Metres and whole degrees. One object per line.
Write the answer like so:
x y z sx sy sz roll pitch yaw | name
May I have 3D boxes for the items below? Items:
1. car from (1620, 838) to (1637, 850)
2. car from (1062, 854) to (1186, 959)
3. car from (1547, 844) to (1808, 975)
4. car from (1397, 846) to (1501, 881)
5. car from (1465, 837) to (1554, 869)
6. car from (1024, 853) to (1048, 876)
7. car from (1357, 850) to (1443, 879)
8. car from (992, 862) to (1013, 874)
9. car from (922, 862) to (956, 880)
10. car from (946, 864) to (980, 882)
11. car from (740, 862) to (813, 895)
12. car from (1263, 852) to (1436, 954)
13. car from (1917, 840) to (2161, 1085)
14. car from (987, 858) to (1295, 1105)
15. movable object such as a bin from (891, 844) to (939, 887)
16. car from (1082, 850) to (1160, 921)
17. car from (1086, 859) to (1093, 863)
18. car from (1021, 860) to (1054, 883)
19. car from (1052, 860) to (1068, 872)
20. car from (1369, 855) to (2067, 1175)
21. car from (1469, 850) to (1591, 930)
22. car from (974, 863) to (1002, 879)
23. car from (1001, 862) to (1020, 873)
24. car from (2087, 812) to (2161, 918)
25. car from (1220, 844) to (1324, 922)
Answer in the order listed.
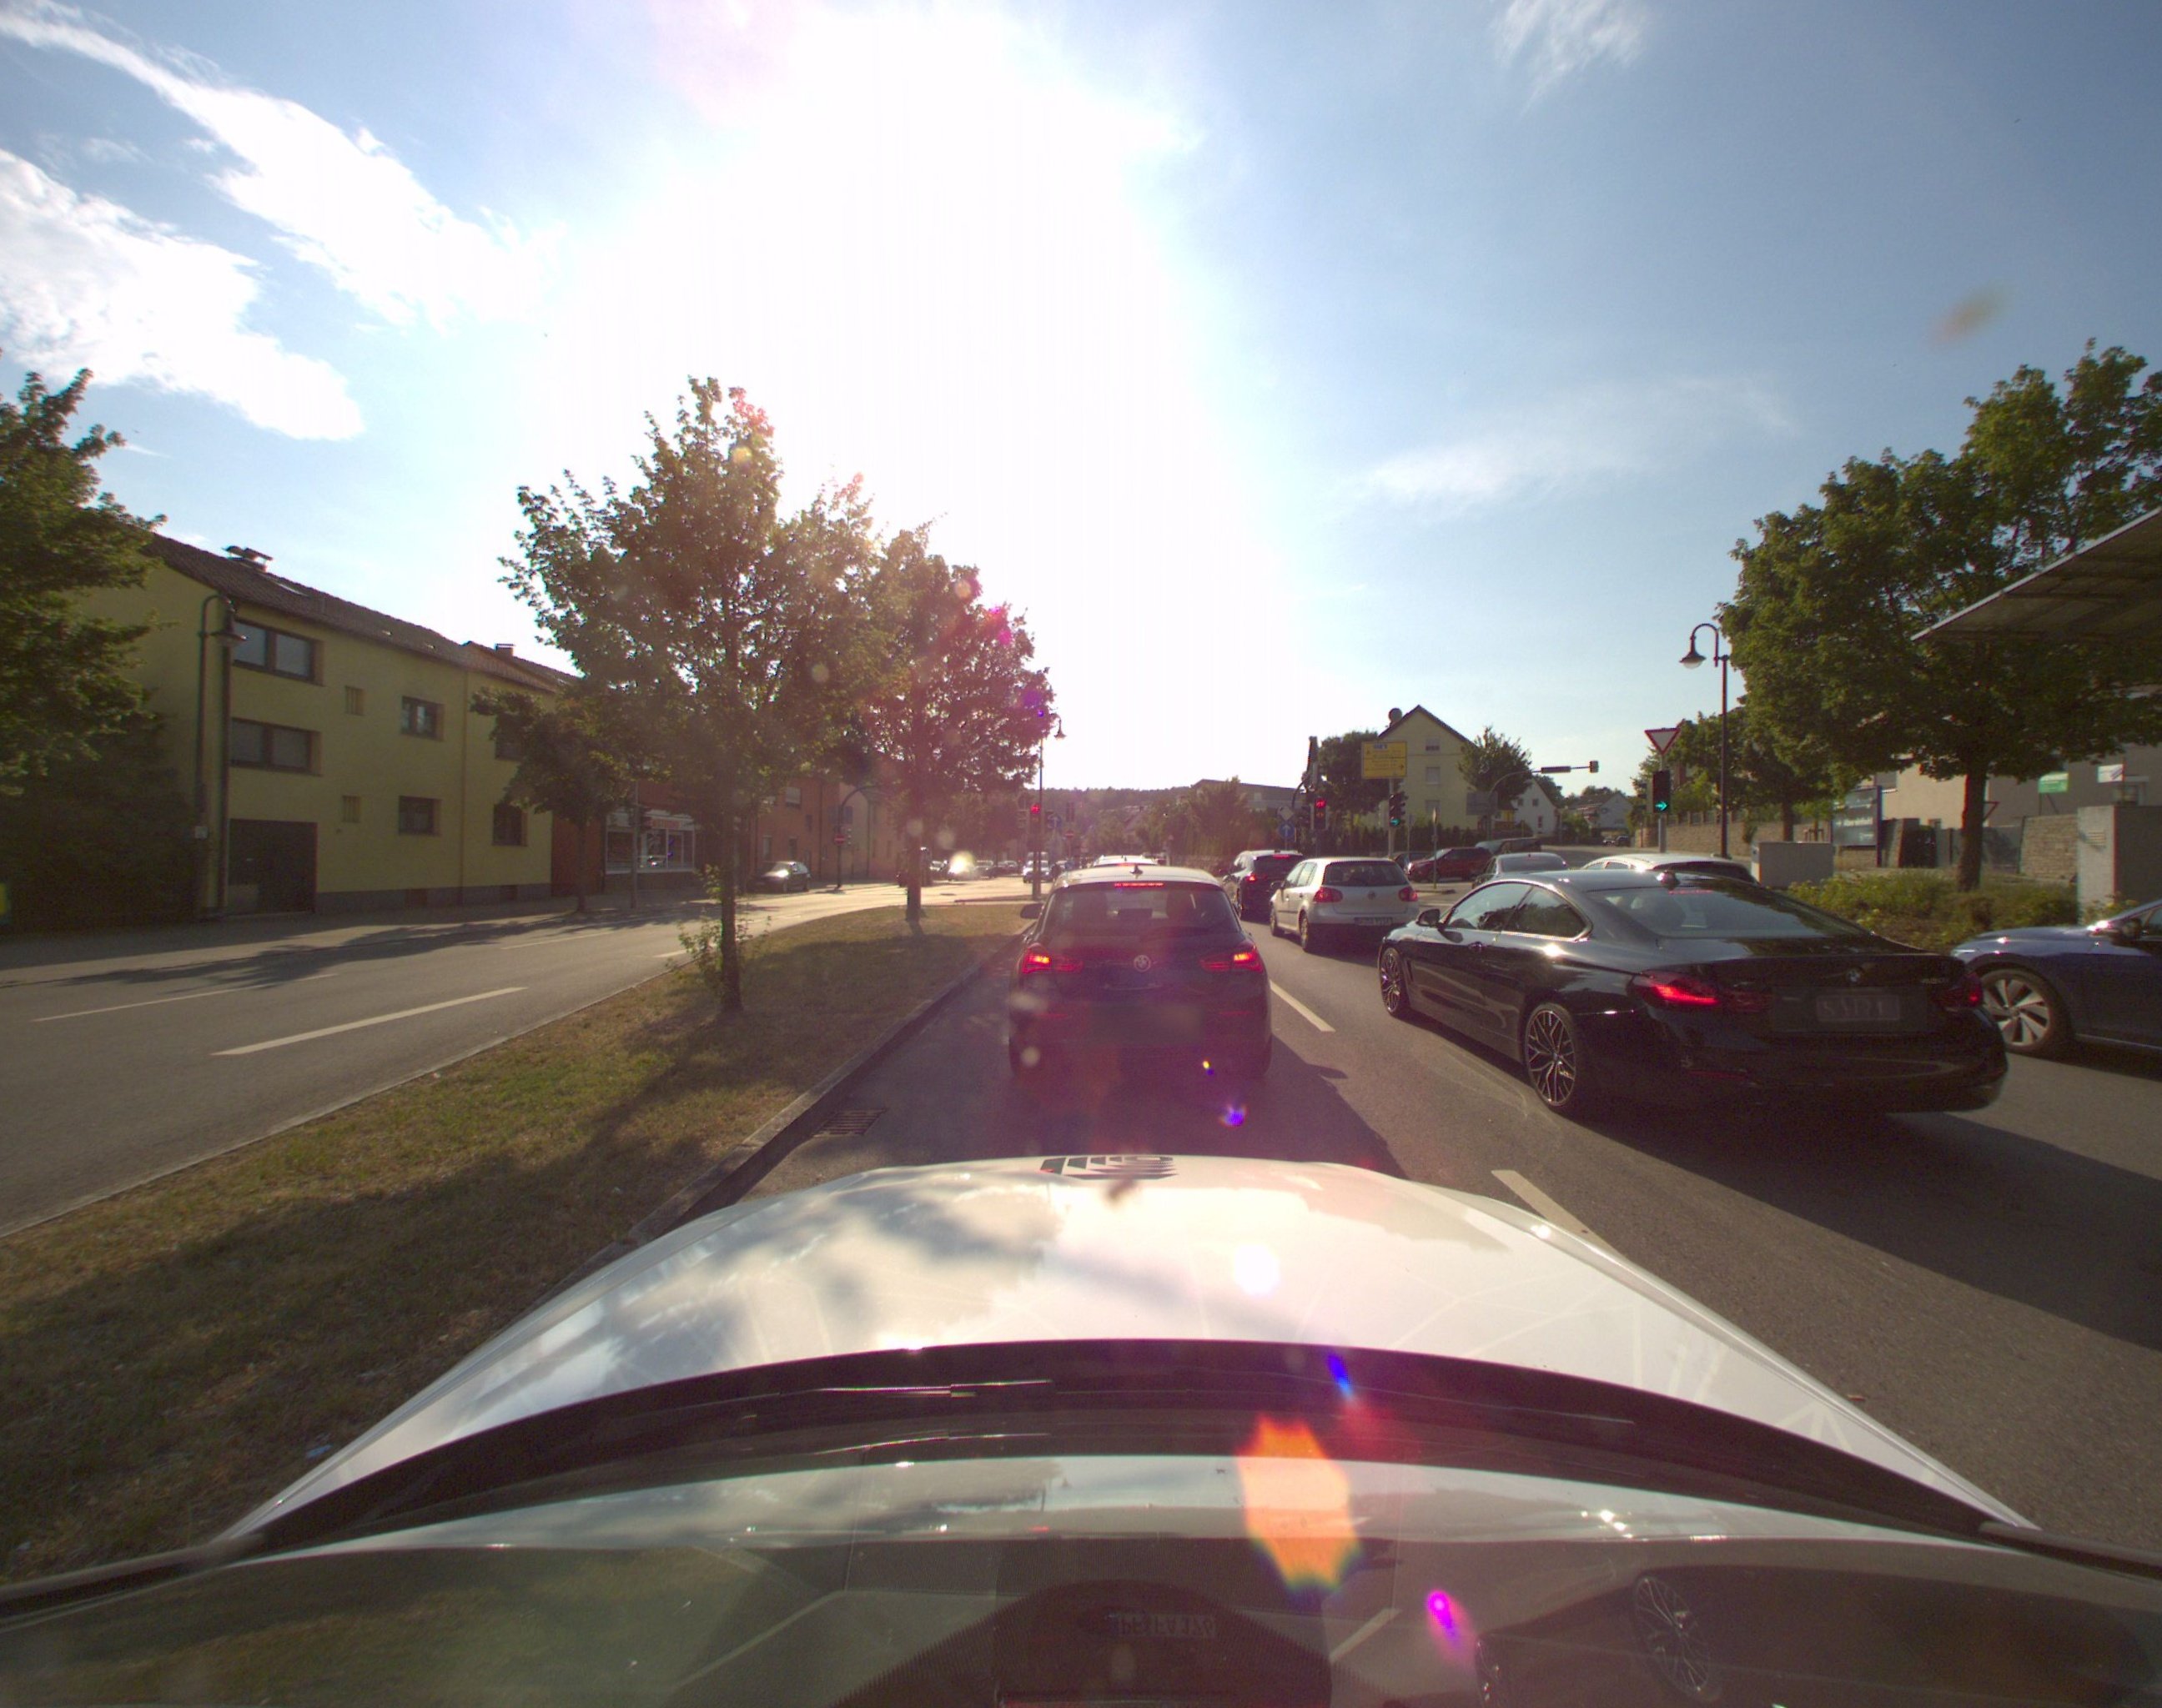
83.881 -1.570 124.800 1.945 1.680 4.242 -2 0 36 | car
0.725 0.777 14.115 1.781 1.494 4.283 -2 0 2 | car
8.116 0.668 11.468 1.608 1.542 3.326 -2 0 9 | car
18.354 0.455 40.740 4.410 1.641 1.845 0 0 -6 | car
24.697 -0.061 46.973 4.785 1.739 1.836 0 0 -20 | car
-4.700 1.072 86.225 2.076 2.394 5.531 0 -1 2 | car
17.351 0.569 44.363 3.974 1.489 1.848 0 0 -1 | car
-9.344 1.652 97.571 1.729 1.301 3.804 4 0 5 | car
-11.740 1.423 67.597 1.728 1.301 4.006 4 0 6 | car
-9.330 1.486 64.633 1.729 1.301 3.804 4 0 5 | car
-14.133 1.112 38.035 1.730 1.301 4.002 4 0 2 | car
4.327 0.713 13.766 1.755 1.426 3.905 -2 0 2 | car
7.391 0.648 4.256 1.754 1.453 4.323 -2 0 4 | car
0.448 0.769 6.970 1.781 1.397 4.283 -2 0 2 | car
-9.970 0.693 49.188 1.729 2.442 4.452 -1 0 3 | movable object such as a bin
1.026 0.738 21.154 1.781 1.594 4.283 -2 0 2 | car
2.572 2.184 254.890 1.729 1.301 3.804 4 0 5 | car
-2.947 1.153 55.740 1.832 1.482 4.002 -1 0 2 | car
-2.803 1.600 111.154 1.831 1.482 4.004 -1 0 4 | car
3.626 0.736 5.826 1.755 1.397 4.283 -2 0 2 | car
9.887 0.711 18.241 1.642 1.542 4.420 -2 0 19 | car
-8.539 1.566 75.239 1.729 1.301 3.804 4 0 5 | car
-8.858 1.689 103.005 1.729 1.301 3.804 4 0 5 | car
18.499 0.155 12.388 3.793 1.632 1.784 0 0 10 | car
4.574 0.647 20.048 1.755 1.656 3.905 -2 0 2 | car
